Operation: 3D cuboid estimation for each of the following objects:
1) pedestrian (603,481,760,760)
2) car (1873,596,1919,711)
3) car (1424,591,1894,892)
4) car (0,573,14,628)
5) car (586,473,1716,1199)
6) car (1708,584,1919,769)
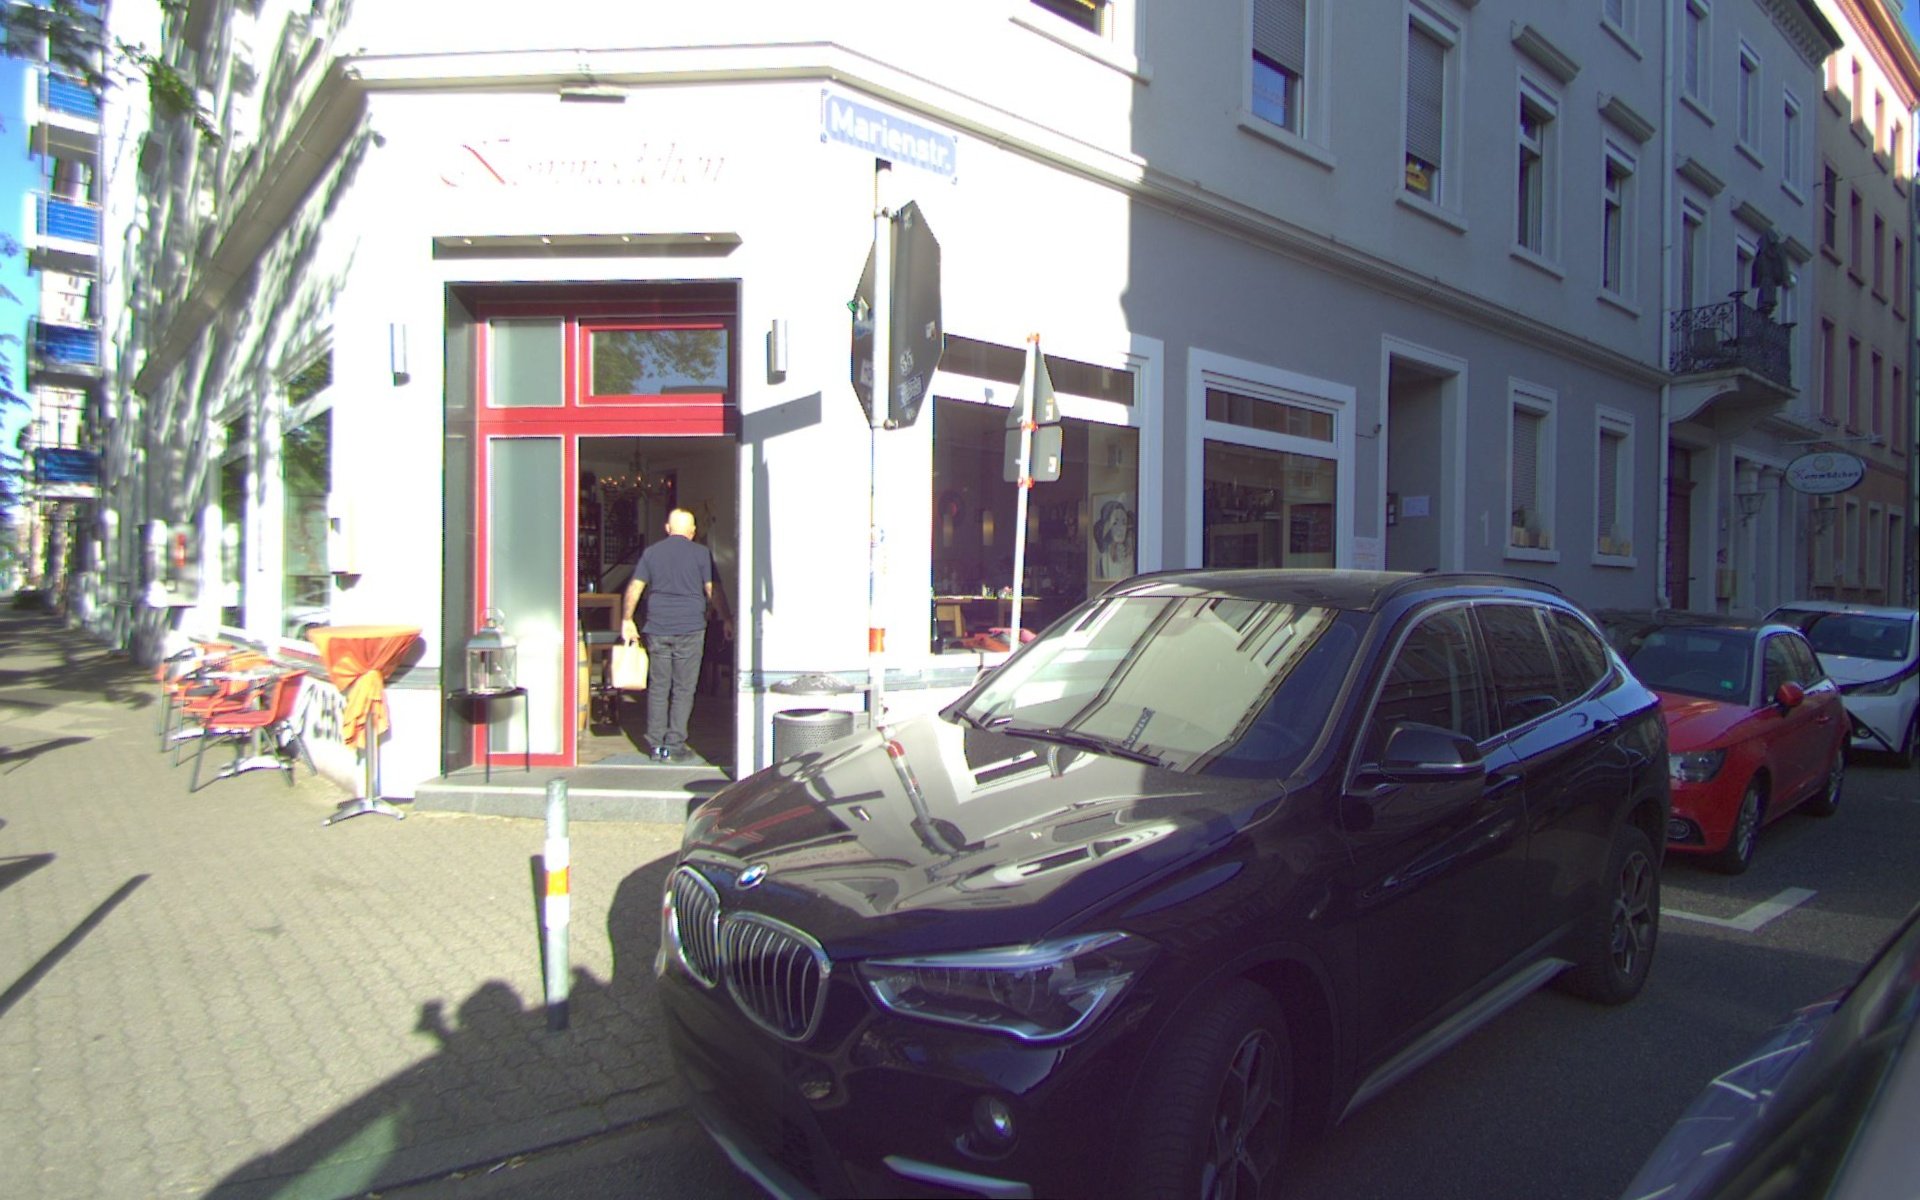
[{"bbox_3d":[-1.915,0.130,7.080,0.848,1.822,0.851,1,0,0],"label":"pedestrian"},{"bbox_3d":[14.545,0.703,14.367,4.114,1.530,1.683,0,-1,-38],"label":"car"},{"bbox_3d":[4.972,0.728,7.004,3.883,1.522,1.648,0,-1,-39],"label":"car"},{"bbox_3d":[-27.413,0.075,26.169,1.596,1.506,4.120,1,2,13],"label":"car"},{"bbox_3d":[1.023,0.645,3.646,4.122,1.683,1.764,0,-1,-39],"label":"car"},{"bbox_3d":[9.373,0.678,10.560,3.720,1.607,1.640,0,-1,-39],"label":"car"}]
